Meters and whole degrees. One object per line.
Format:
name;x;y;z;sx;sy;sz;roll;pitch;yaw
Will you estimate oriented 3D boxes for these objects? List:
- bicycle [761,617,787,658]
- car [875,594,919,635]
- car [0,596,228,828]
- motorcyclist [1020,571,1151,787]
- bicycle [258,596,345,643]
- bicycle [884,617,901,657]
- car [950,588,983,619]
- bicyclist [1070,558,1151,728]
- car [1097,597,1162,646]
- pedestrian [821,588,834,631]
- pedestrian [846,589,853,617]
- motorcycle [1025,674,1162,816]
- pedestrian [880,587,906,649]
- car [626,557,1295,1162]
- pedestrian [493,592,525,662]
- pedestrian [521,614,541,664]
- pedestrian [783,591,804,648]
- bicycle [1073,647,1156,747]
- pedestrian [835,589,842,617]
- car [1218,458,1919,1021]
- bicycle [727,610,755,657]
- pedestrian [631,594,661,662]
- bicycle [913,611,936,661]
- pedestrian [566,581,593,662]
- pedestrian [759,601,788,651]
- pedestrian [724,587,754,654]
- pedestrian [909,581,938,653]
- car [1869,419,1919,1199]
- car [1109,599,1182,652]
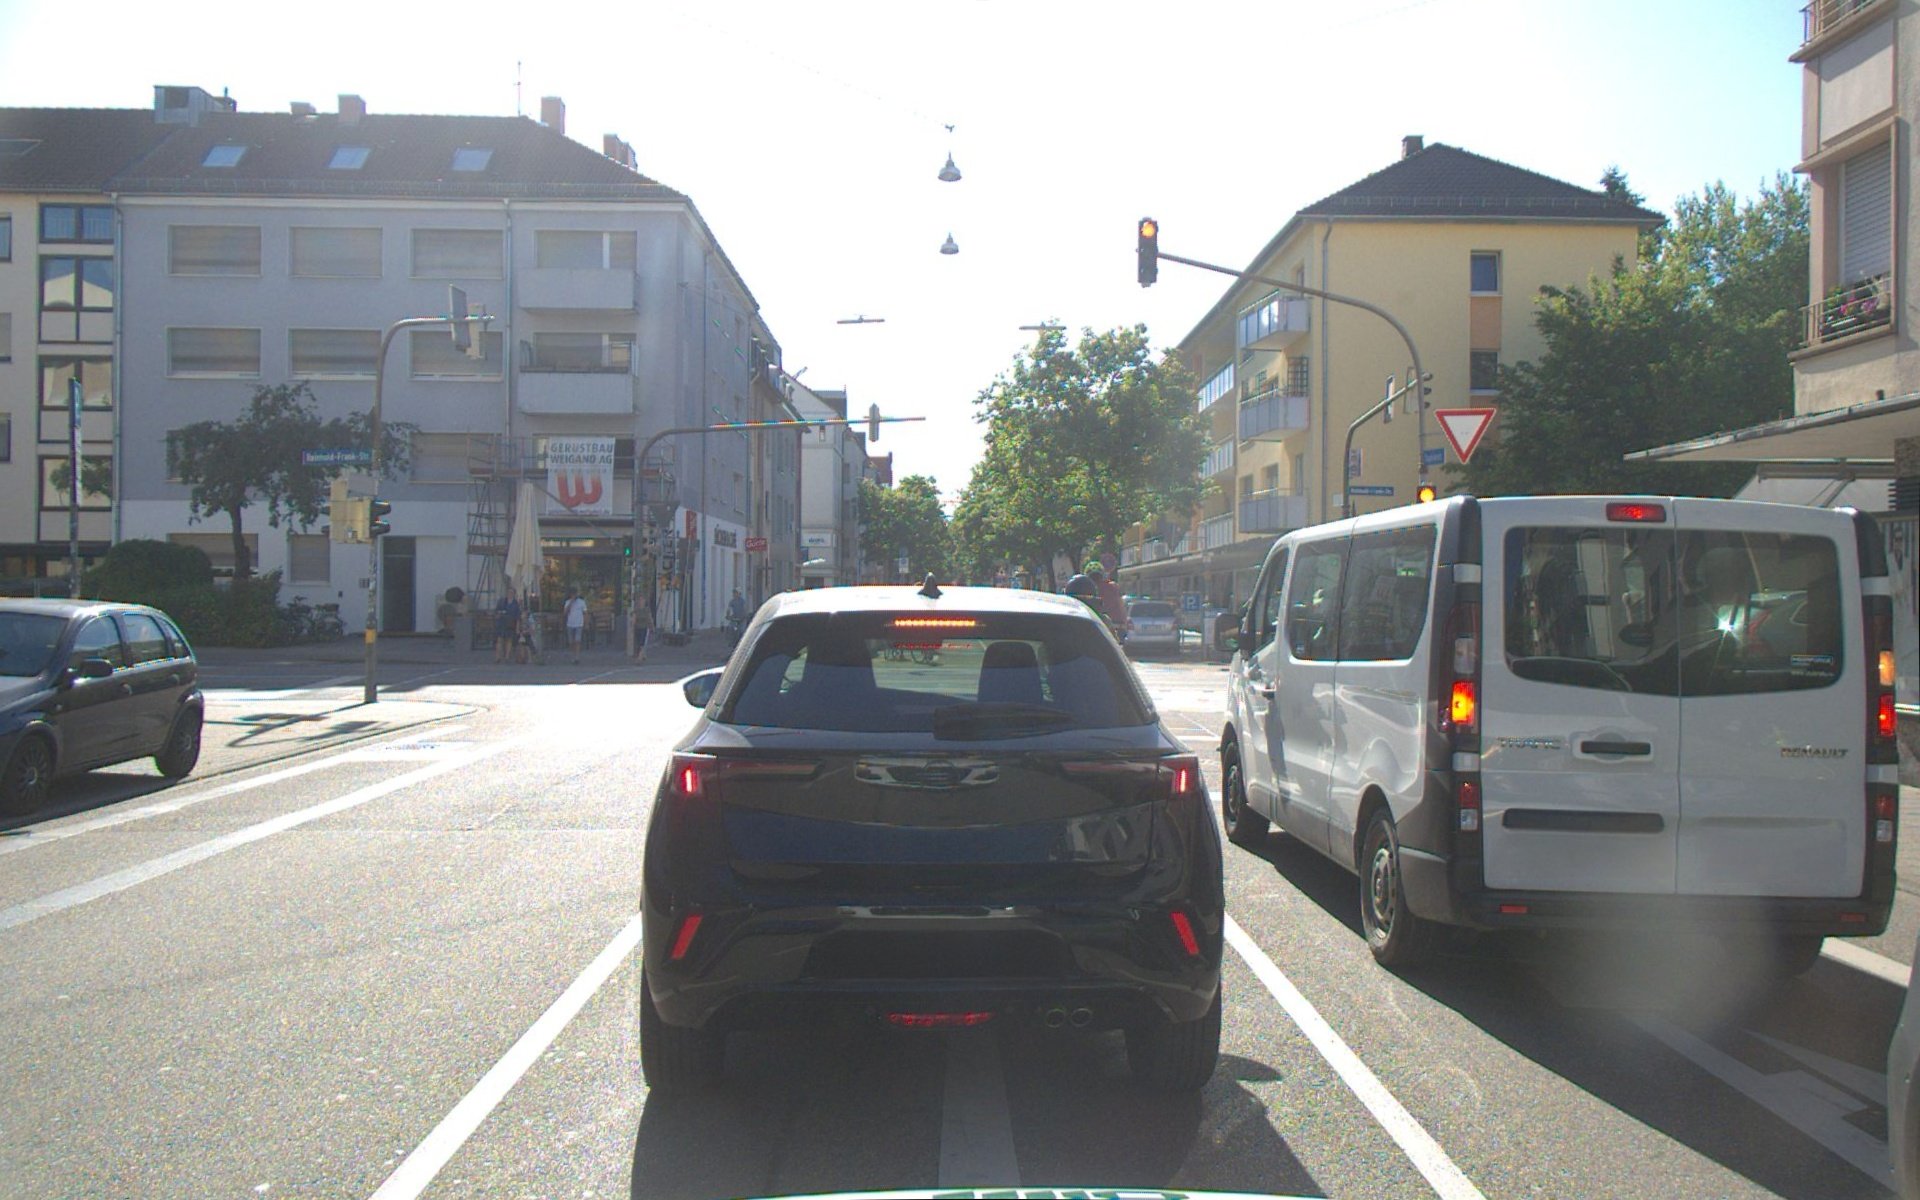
bicycle;-4.877;0.979;43.355;0.511;1.010;2.338;0;0;-3
car;-2.788;0.622;73.828;1.787;1.758;4.000;0;0;1
car;-7.080;0.728;12.350;1.584;1.450;3.709;2;0;-1
motorcyclist;0.913;0.560;12.330;0.846;1.528;1.159;0;0;-2
bicycle;-16.911;0.487;42.493;2.067;1.193;0.735;0;0;-25
bicycle;-1.811;0.965;44.049;0.434;1.010;2.068;0;0;-3
car;0.381;0.167;96.281;1.863;1.758;4.073;0;0;0
bicyclist;1.587;0.438;17.628;0.675;1.742;1.413;0;0;-3
car;5.288;0.656;52.002;1.601;1.458;3.999;0;0;-1
pedestrian;-5.327;0.382;66.727;0.478;1.719;0.588;0;0;-1
pedestrian;-6.624;0.172;99.329;0.394;1.704;0.417;0;0;-1
motorcycle;0.934;1.016;12.043;0.808;0.860;1.884;0;0;-1
pedestrian;-1.779;0.469;43.911;0.666;1.634;0.762;0;0;-3
car;-0.077;0.667;6.308;1.735;1.557;3.998;0;0;-3
pedestrian;-10.167;0.605;37.315;0.573;1.547;0.649;0;0;-4
pedestrian;-9.667;0.869;37.311;0.348;1.111;0.461;0;0;-4
pedestrian;-5.062;0.575;50.270;0.558;1.719;0.588;0;0;-1
bicycle;1.614;0.997;17.542;0.565;0.920;2.300;0;0;-3
pedestrian;-7.303;0.167;99.451;0.394;1.704;0.417;0;0;-1
car;2.729;0.505;8.485;1.953;2.014;4.894;1;0;-1
bicycle;-5.603;0.838;42.365;0.511;1.167;2.282;0;0;-3
pedestrian;-7.247;0.646;38.176;0.605;1.547;0.724;0;0;-4
bicycle;-0.867;0.858;40.195;0.511;1.167;2.169;0;0;-3
pedestrian;-8.609;0.483;37.438;0.550;1.806;0.582;1;0;-9
pedestrian;-4.883;0.677;43.332;0.692;1.275;0.802;0;0;-3
pedestrian;-5.638;0.514;42.217;0.692;1.707;0.802;0;0;-3
pedestrian;-0.890;0.403;40.250;0.692;1.731;0.802;0;0;-3
car;3.003;0.585;1.211;1.799;1.901;4.994;0;0;-2
car;5.269;0.696;47.320;1.601;1.458;3.956;0;0;-1
